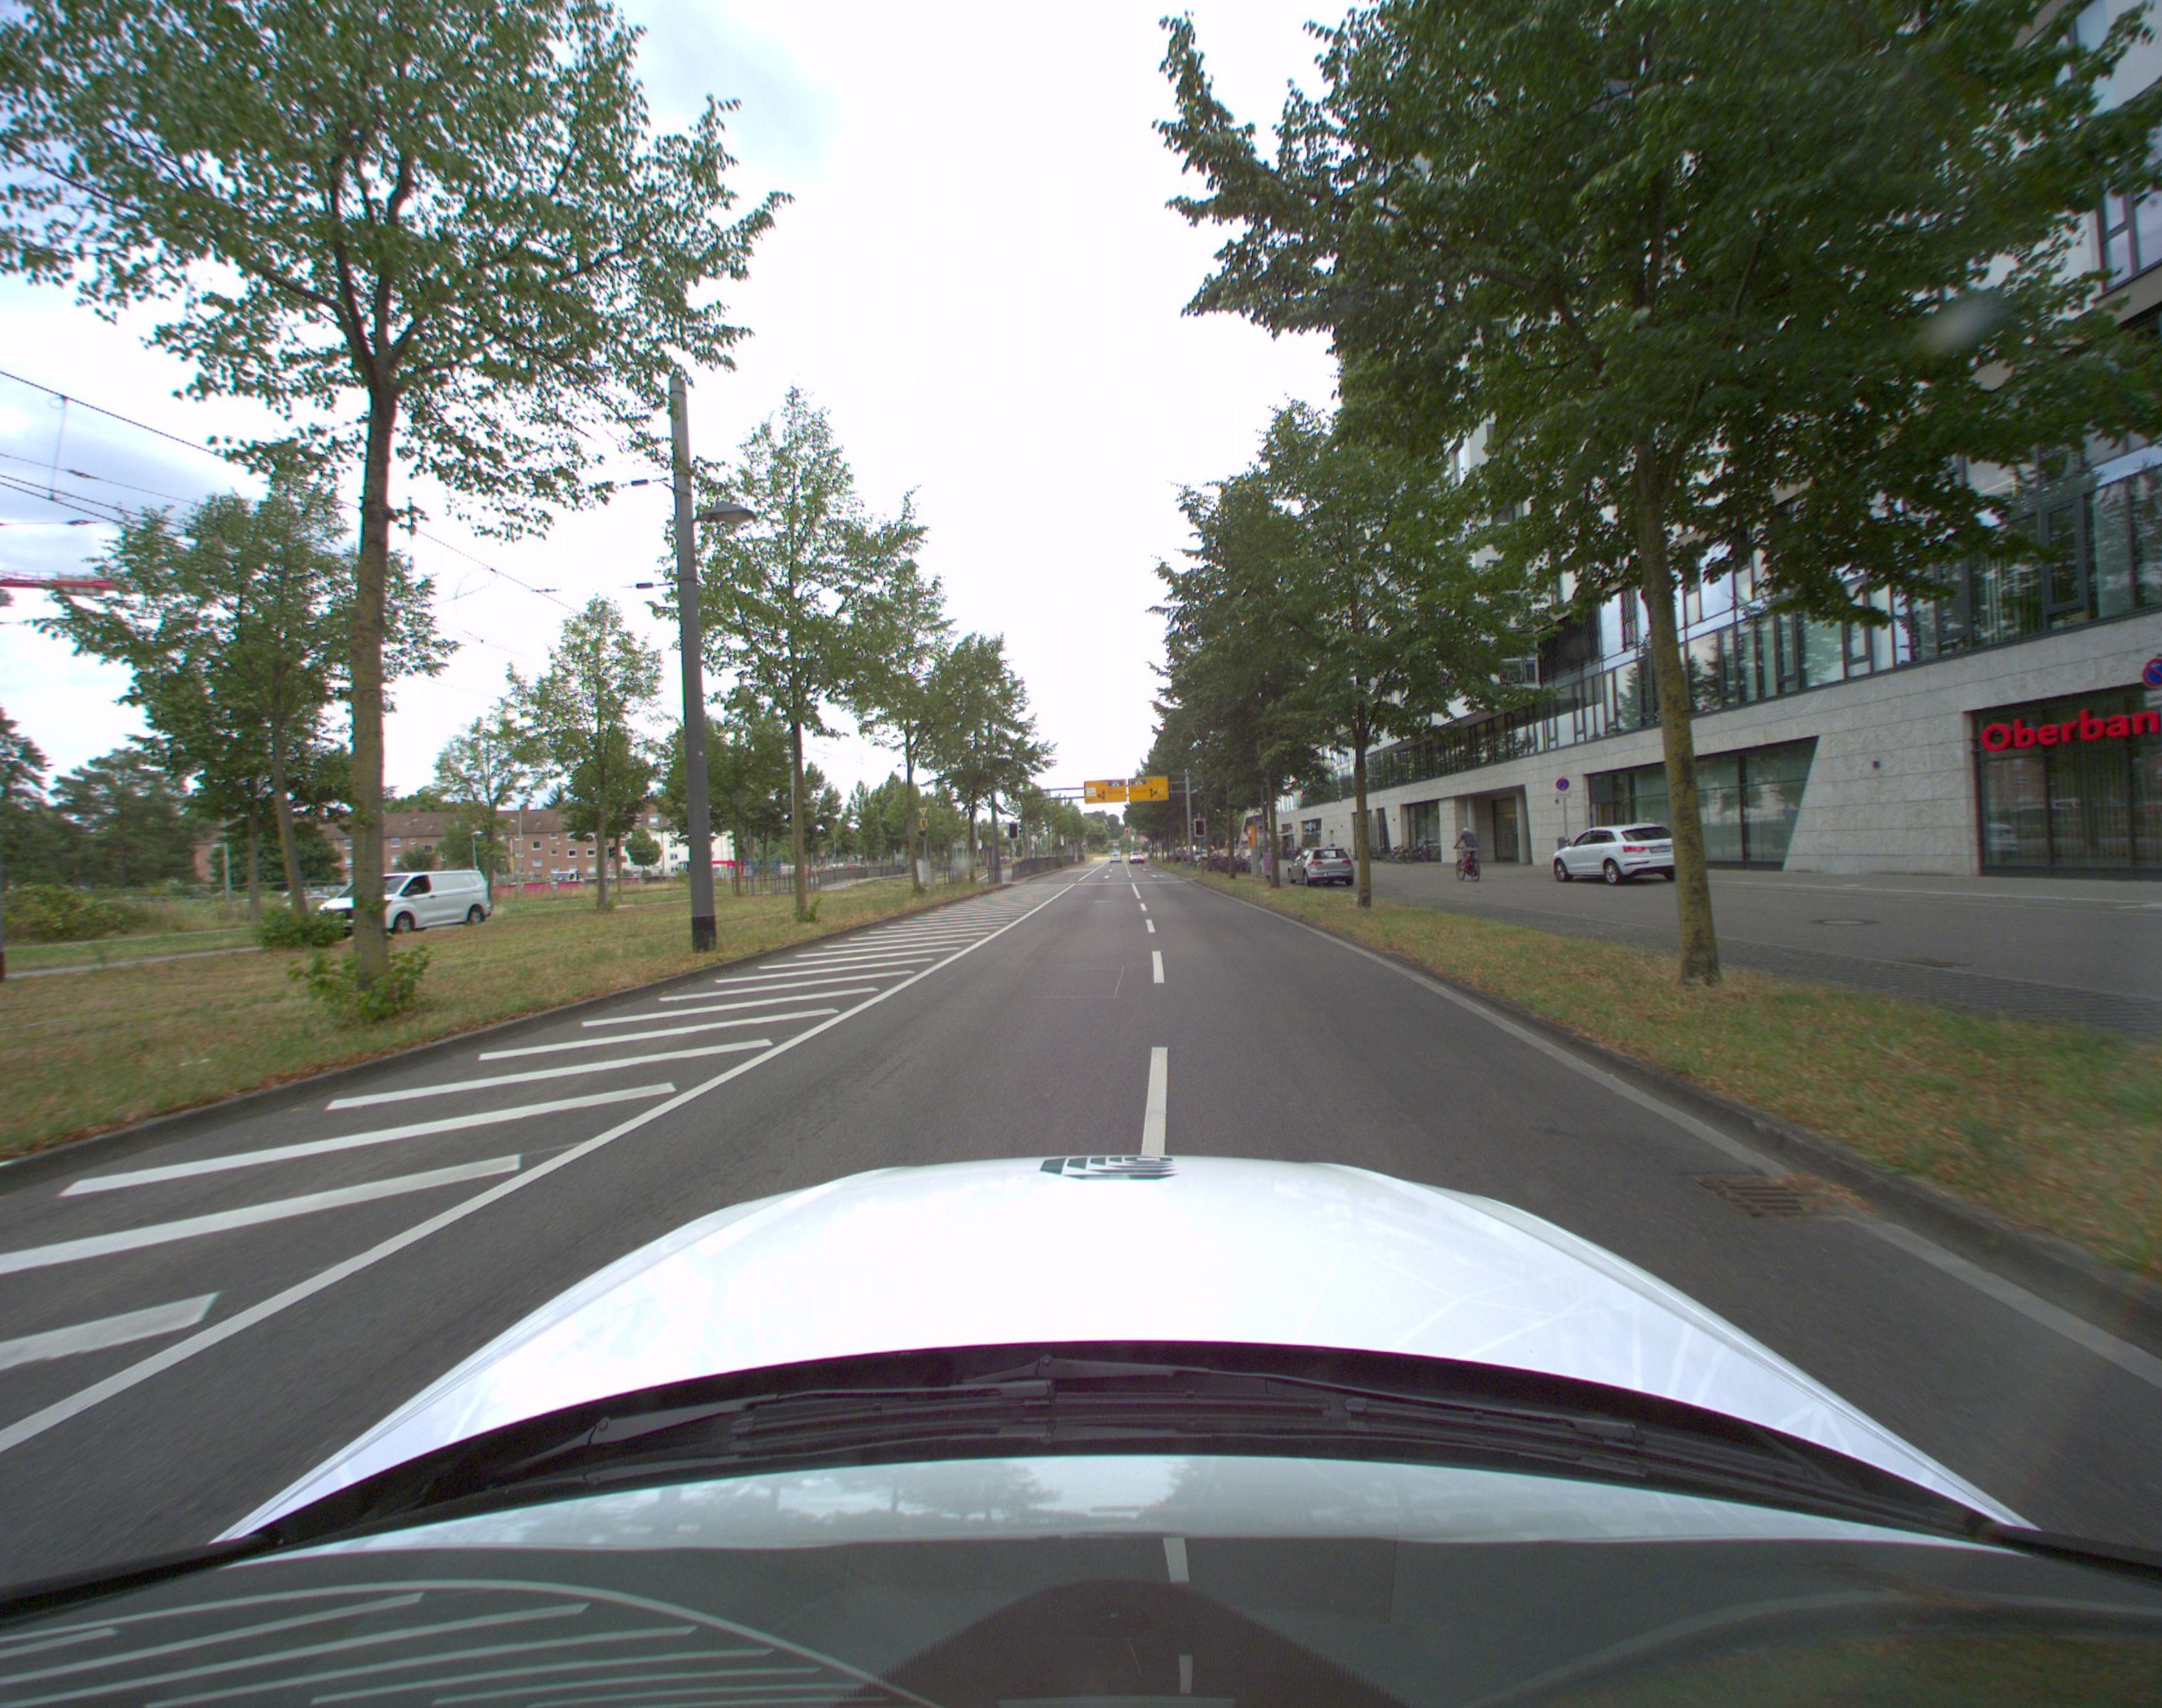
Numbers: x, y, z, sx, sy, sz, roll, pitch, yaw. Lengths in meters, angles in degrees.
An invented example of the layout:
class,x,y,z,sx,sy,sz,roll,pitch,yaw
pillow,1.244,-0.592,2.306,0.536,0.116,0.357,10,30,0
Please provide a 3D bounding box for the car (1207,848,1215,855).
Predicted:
class,x,y,z,sx,sy,sz,roll,pitch,yaw
car,32.657,-0.550,204.372,1.771,1.636,4.417,-3,0,13

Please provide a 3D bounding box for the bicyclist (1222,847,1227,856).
class,x,y,z,sx,sy,sz,roll,pitch,yaw
bicyclist,24.995,-0.413,141.510,0.721,1.582,0.990,-2,-1,3

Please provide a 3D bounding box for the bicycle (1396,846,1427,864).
class,x,y,z,sx,sy,sz,roll,pitch,yaw
bicycle,19.480,0.049,48.017,1.524,0.953,0.533,-3,0,-1

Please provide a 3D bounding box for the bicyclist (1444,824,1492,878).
class,x,y,z,sx,sy,sz,roll,pitch,yaw
bicyclist,13.409,-0.097,28.285,0.993,1.737,1.130,-5,0,1

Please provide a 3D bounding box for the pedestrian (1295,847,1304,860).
class,x,y,z,sx,sy,sz,roll,pitch,yaw
pedestrian,21.042,-0.090,78.423,0.712,1.192,0.763,-3,0,24

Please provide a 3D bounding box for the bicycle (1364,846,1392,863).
class,x,y,z,sx,sy,sz,roll,pitch,yaw
bicycle,19.361,0.023,53.155,1.593,1.026,0.533,-4,0,-1

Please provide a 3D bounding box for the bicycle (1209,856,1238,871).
class,x,y,z,sx,sy,sz,roll,pitch,yaw
bicycle,9.936,0.654,56.928,1.927,1.065,0.542,1,0,-7

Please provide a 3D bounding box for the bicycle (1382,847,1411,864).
class,x,y,z,sx,sy,sz,roll,pitch,yaw
bicycle,19.511,0.099,50.388,1.524,0.953,0.533,-3,0,-1

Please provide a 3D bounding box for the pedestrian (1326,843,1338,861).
class,x,y,z,sx,sy,sz,roll,pitch,yaw
pedestrian,20.321,-0.158,65.968,0.752,1.407,0.723,-3,0,10

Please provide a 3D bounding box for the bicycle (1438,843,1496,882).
class,x,y,z,sx,sy,sz,roll,pitch,yaw
bicycle,13.439,0.277,28.431,0.898,1.235,2.269,-6,0,2

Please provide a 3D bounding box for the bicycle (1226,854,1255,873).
class,x,y,z,sx,sy,sz,roll,pitch,yaw
bicycle,9.614,0.564,49.169,1.663,1.090,0.525,0,0,-1

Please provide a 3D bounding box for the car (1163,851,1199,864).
class,x,y,z,sx,sy,sz,roll,pitch,yaw
car,12.668,0.459,103.680,1.954,1.475,4.821,-3,0,-32

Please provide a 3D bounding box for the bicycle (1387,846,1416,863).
class,x,y,z,sx,sy,sz,roll,pitch,yaw
bicycle,19.500,0.048,49.563,1.524,0.953,0.533,-3,0,-1

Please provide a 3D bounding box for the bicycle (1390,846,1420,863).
class,x,y,z,sx,sy,sz,roll,pitch,yaw
bicycle,19.460,0.043,48.959,1.524,0.953,0.533,-3,0,-1

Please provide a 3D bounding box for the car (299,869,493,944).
class,x,y,z,sx,sy,sz,roll,pitch,yaw
car,-21.140,1.528,25.519,1.990,1.944,5.087,-3,0,-5

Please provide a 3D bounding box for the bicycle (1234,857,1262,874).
class,x,y,z,sx,sy,sz,roll,pitch,yaw
bicycle,9.747,0.655,47.655,1.524,0.953,0.552,0,0,-1

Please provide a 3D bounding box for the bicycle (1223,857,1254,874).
class,x,y,z,sx,sy,sz,roll,pitch,yaw
bicycle,9.661,0.721,49.998,1.770,1.012,0.609,0,0,-6

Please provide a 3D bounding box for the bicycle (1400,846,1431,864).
class,x,y,z,sx,sy,sz,roll,pitch,yaw
bicycle,19.479,0.041,47.457,1.524,0.953,0.533,-3,0,-1

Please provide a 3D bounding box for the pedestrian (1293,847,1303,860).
class,x,y,z,sx,sy,sz,roll,pitch,yaw
pedestrian,20.571,-0.071,77.177,0.766,1.192,1.111,-3,0,18

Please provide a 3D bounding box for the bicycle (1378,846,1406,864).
class,x,y,z,sx,sy,sz,roll,pitch,yaw
bicycle,19.585,0.048,51.328,1.524,1.026,0.533,-3,0,-1

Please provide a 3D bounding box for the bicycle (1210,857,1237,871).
class,x,y,z,sx,sy,sz,roll,pitch,yaw
bicycle,9.849,0.694,56.284,1.741,0.974,0.608,1,0,-6

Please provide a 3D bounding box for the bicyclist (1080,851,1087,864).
class,x,y,z,sx,sy,sz,roll,pitch,yaw
bicyclist,0.452,0.606,141.392,0.736,1.889,0.723,18,-19,-28

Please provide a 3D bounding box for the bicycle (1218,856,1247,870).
class,x,y,z,sx,sy,sz,roll,pitch,yaw
bicycle,9.675,0.575,52.034,1.712,0.906,0.587,1,0,-6

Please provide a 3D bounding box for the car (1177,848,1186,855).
class,x,y,z,sx,sy,sz,roll,pitch,yaw
car,25.878,-0.638,210.401,1.985,1.791,4.003,0,-1,3

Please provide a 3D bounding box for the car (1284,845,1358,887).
class,x,y,z,sx,sy,sz,roll,pitch,yaw
car,9.140,0.421,31.292,1.753,1.421,4.186,-2,0,3

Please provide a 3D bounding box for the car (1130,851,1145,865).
class,x,y,z,sx,sy,sz,roll,pitch,yaw
car,7.435,0.541,107.076,1.771,1.656,4.026,-3,0,3

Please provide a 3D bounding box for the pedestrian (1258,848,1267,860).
class,x,y,z,sx,sy,sz,roll,pitch,yaw
pedestrian,20.865,-0.006,93.819,0.893,1.228,0.952,-3,0,7

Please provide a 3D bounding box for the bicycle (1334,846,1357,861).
class,x,y,z,sx,sy,sz,roll,pitch,yaw
bicycle,20.263,-0.051,62.337,1.605,1.026,0.605,-3,0,-25

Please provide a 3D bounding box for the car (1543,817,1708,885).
class,x,y,z,sx,sy,sz,roll,pitch,yaw
car,15.170,-0.082,23.003,1.850,1.588,4.243,-5,0,3

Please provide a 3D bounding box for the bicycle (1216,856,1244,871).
class,x,y,z,sx,sy,sz,roll,pitch,yaw
bicycle,9.735,0.642,53.328,1.712,0.974,0.608,1,0,-6

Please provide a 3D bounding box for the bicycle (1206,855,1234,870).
class,x,y,z,sx,sy,sz,roll,pitch,yaw
bicycle,10.074,0.637,58.996,1.924,1.065,0.705,1,0,-1

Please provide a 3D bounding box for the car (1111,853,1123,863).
class,x,y,z,sx,sy,sz,roll,pitch,yaw
car,5.554,0.600,126.551,1.767,1.448,3.911,-3,0,1

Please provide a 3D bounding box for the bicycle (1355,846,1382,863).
class,x,y,z,sx,sy,sz,roll,pitch,yaw
bicycle,19.416,0.021,55.000,1.593,1.026,0.533,-4,0,-1

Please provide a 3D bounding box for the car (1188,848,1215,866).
class,x,y,z,sx,sy,sz,roll,pitch,yaw
car,11.446,0.290,77.674,1.931,1.552,4.596,-3,0,2
